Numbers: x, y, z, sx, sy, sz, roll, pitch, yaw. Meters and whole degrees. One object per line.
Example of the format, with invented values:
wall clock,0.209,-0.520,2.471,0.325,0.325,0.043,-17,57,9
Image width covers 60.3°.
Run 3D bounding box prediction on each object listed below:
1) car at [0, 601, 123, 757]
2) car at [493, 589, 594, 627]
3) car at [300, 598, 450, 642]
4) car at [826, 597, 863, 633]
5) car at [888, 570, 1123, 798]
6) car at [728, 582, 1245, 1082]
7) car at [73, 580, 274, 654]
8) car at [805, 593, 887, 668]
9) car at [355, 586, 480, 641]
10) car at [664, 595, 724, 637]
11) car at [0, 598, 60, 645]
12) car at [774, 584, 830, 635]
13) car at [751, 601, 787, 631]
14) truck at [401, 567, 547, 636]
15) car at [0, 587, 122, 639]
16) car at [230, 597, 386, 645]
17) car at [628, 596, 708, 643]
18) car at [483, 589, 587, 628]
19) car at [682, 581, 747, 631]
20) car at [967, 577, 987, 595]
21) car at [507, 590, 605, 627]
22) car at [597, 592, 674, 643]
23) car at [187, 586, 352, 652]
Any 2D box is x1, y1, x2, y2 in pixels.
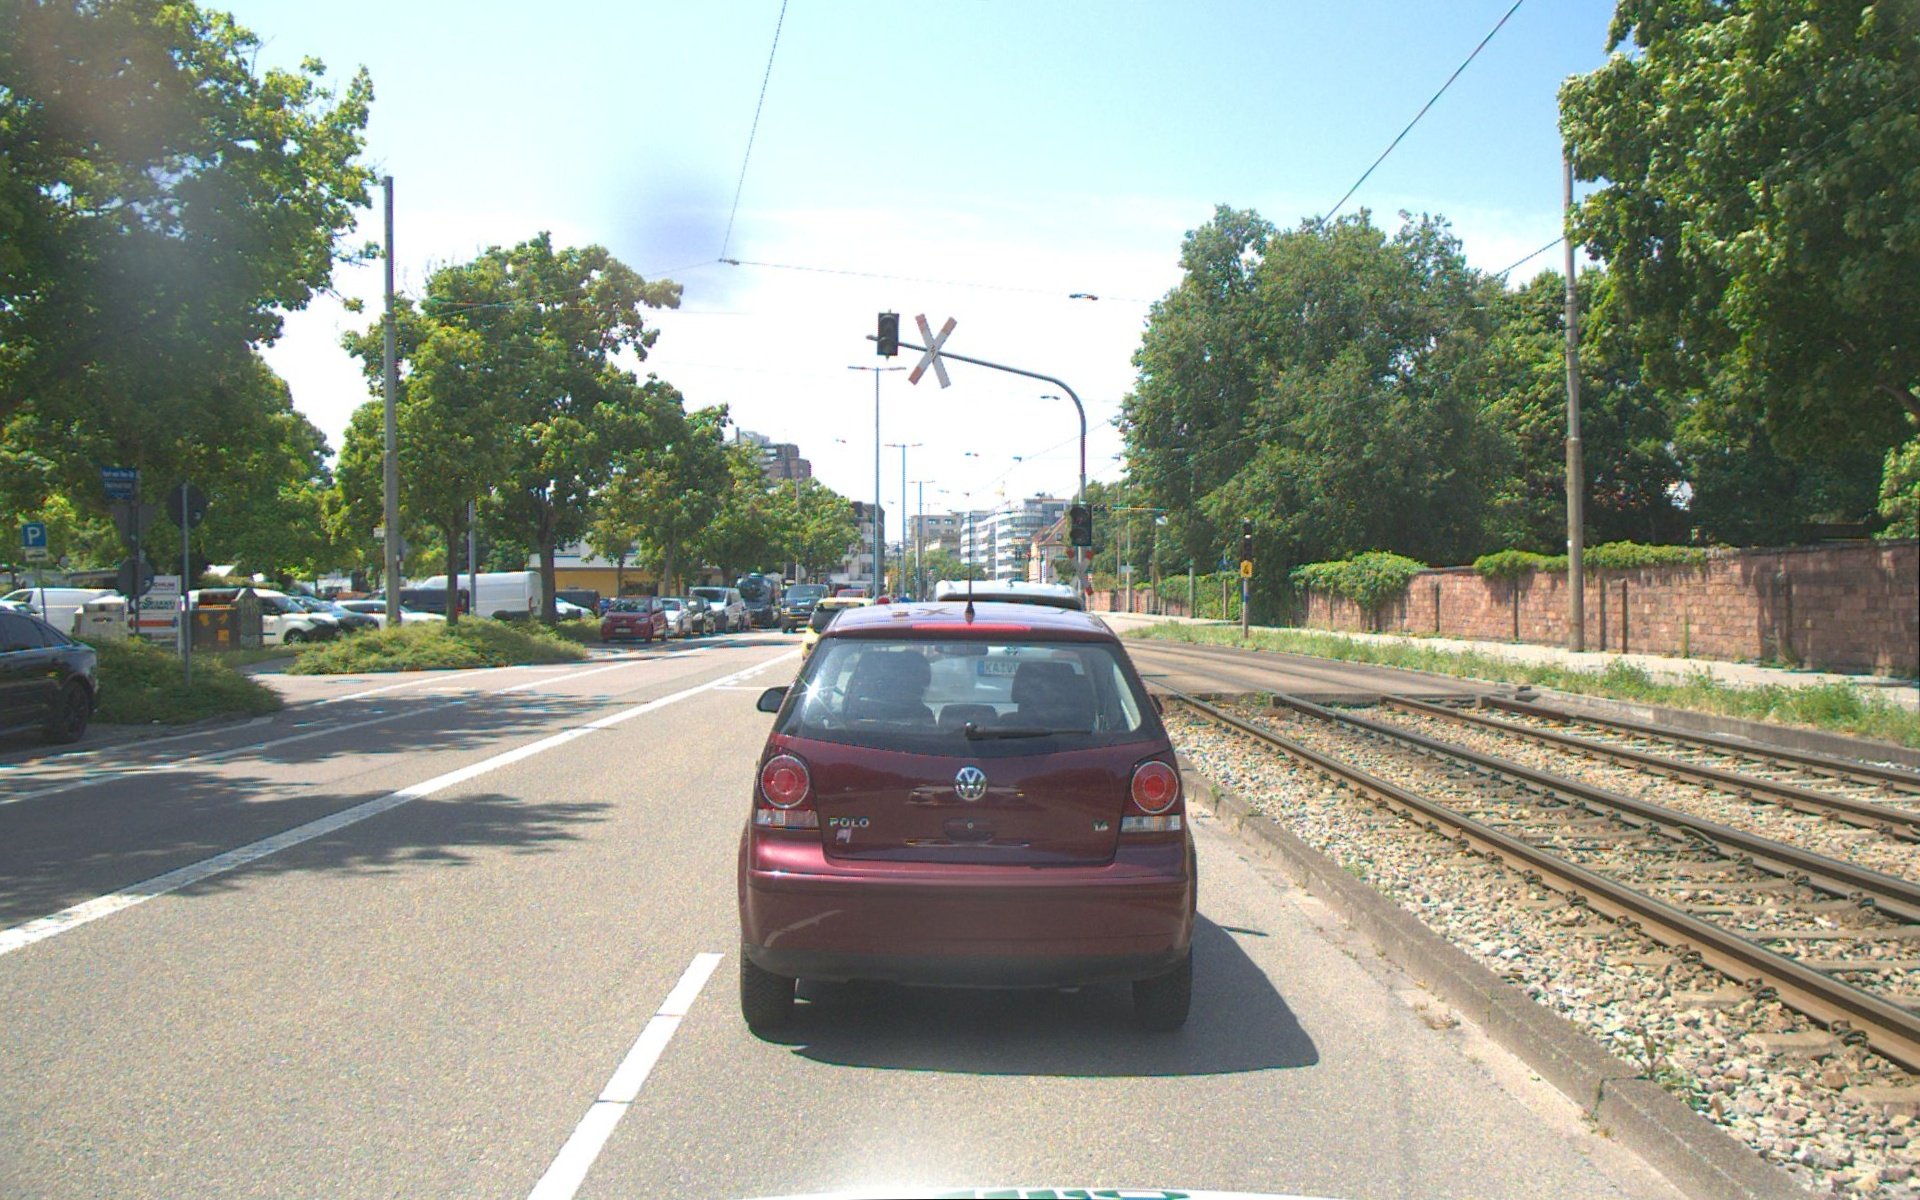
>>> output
car,-10.233,0.770,16.161,1.856,1.482,4.807,1,0,-3
car,-20.905,0.402,83.169,4.623,1.845,1.796,-1,0,-2
car,-21.115,0.699,59.841,4.665,1.514,2.057,-1,0,-2
car,-6.537,0.815,93.953,1.861,1.959,4.818,-1,0,-2
car,0.319,0.630,14.574,1.759,1.712,3.999,1,0,-1
car,0.055,0.710,7.110,1.577,1.524,3.999,1,0,-1
car,-20.914,0.439,44.135,4.361,1.889,2.059,-1,0,-5
car,-2.379,0.608,35.080,1.520,1.473,3.411,1,0,-1
car,-20.520,0.493,62.683,4.125,2.030,1.856,-1,0,-2
car,-10.538,0.605,65.625,1.581,1.510,3.785,3,0,2
car,-33.720,0.721,57.692,3.670,1.603,1.732,0,0,-1
car,-6.470,0.364,68.098,1.879,1.944,4.570,-1,0,-1
car,-10.095,0.838,87.659,1.376,1.465,3.839,3,0,0
truck,-20.696,0.055,70.596,5.463,2.808,2.432,-1,0,0
car,-32.921,0.454,59.991,4.044,1.852,1.970,0,0,-1
car,-20.419,0.652,51.950,4.114,1.428,2.079,-1,0,-5
car,-10.617,0.670,60.475,1.683,1.451,4.773,-5,0,4
car,-20.819,0.423,81.154,4.623,1.845,1.796,-1,0,-2
car,-10.474,0.237,70.976,1.824,1.971,4.806,3,0,2
car,1.966,-1.578,189.605,1.881,1.944,4.566,-1,0,-5
car,-20.898,0.425,85.745,4.623,1.845,1.796,-1,0,-2
car,-10.510,0.545,53.799,1.637,1.573,3.727,1,0,2
car,-20.427,0.556,49.045,4.178,1.867,1.673,-1,0,1
